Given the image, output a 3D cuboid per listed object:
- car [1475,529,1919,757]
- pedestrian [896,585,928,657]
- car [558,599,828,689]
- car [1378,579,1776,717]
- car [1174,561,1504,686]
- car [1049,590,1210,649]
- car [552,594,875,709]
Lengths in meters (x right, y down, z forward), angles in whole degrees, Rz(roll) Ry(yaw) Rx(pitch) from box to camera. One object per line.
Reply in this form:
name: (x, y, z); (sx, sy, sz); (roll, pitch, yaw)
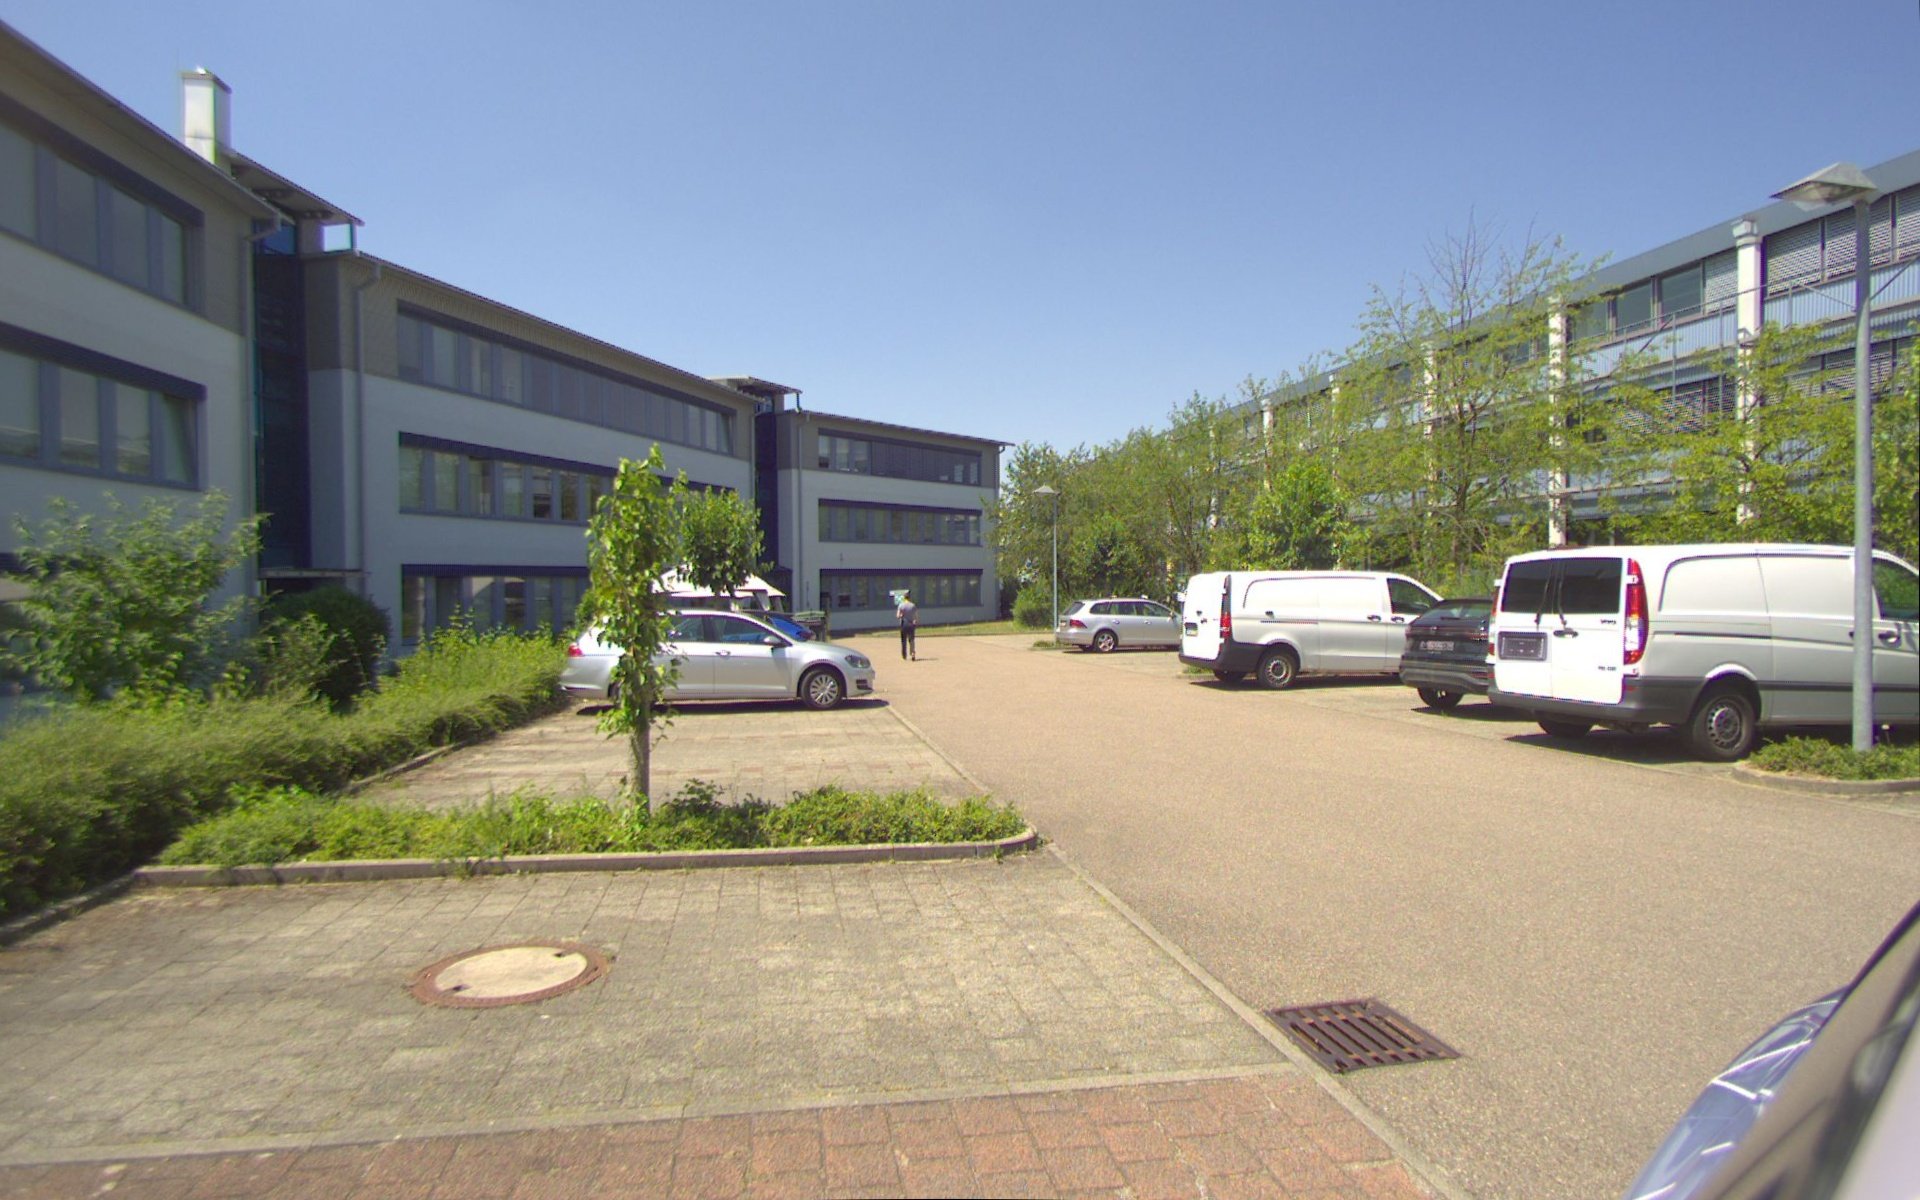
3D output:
car: (7.648, 0.327, 9.739); (4.580, 1.883, 1.872); (-1, 0, -11)
pedestrian: (-1.239, 0.521, 25.898); (0.684, 1.779, 0.778); (-2, 0, -9)
car: (-4.739, 0.738, 18.392); (4.517, 1.513, 1.860); (0, 0, -11)
car: (7.585, 0.527, 12.588); (4.110, 1.503, 1.743); (-1, 0, -11)
car: (6.240, 0.350, 16.907); (4.833, 1.879, 1.859); (-1, 0, -9)
car: (4.623, 0.513, 27.855); (4.001, 1.503, 1.742); (-1, 0, -8)
car: (-3.522, 0.693, 14.896); (4.335, 1.539, 1.860); (0, 0, -11)
